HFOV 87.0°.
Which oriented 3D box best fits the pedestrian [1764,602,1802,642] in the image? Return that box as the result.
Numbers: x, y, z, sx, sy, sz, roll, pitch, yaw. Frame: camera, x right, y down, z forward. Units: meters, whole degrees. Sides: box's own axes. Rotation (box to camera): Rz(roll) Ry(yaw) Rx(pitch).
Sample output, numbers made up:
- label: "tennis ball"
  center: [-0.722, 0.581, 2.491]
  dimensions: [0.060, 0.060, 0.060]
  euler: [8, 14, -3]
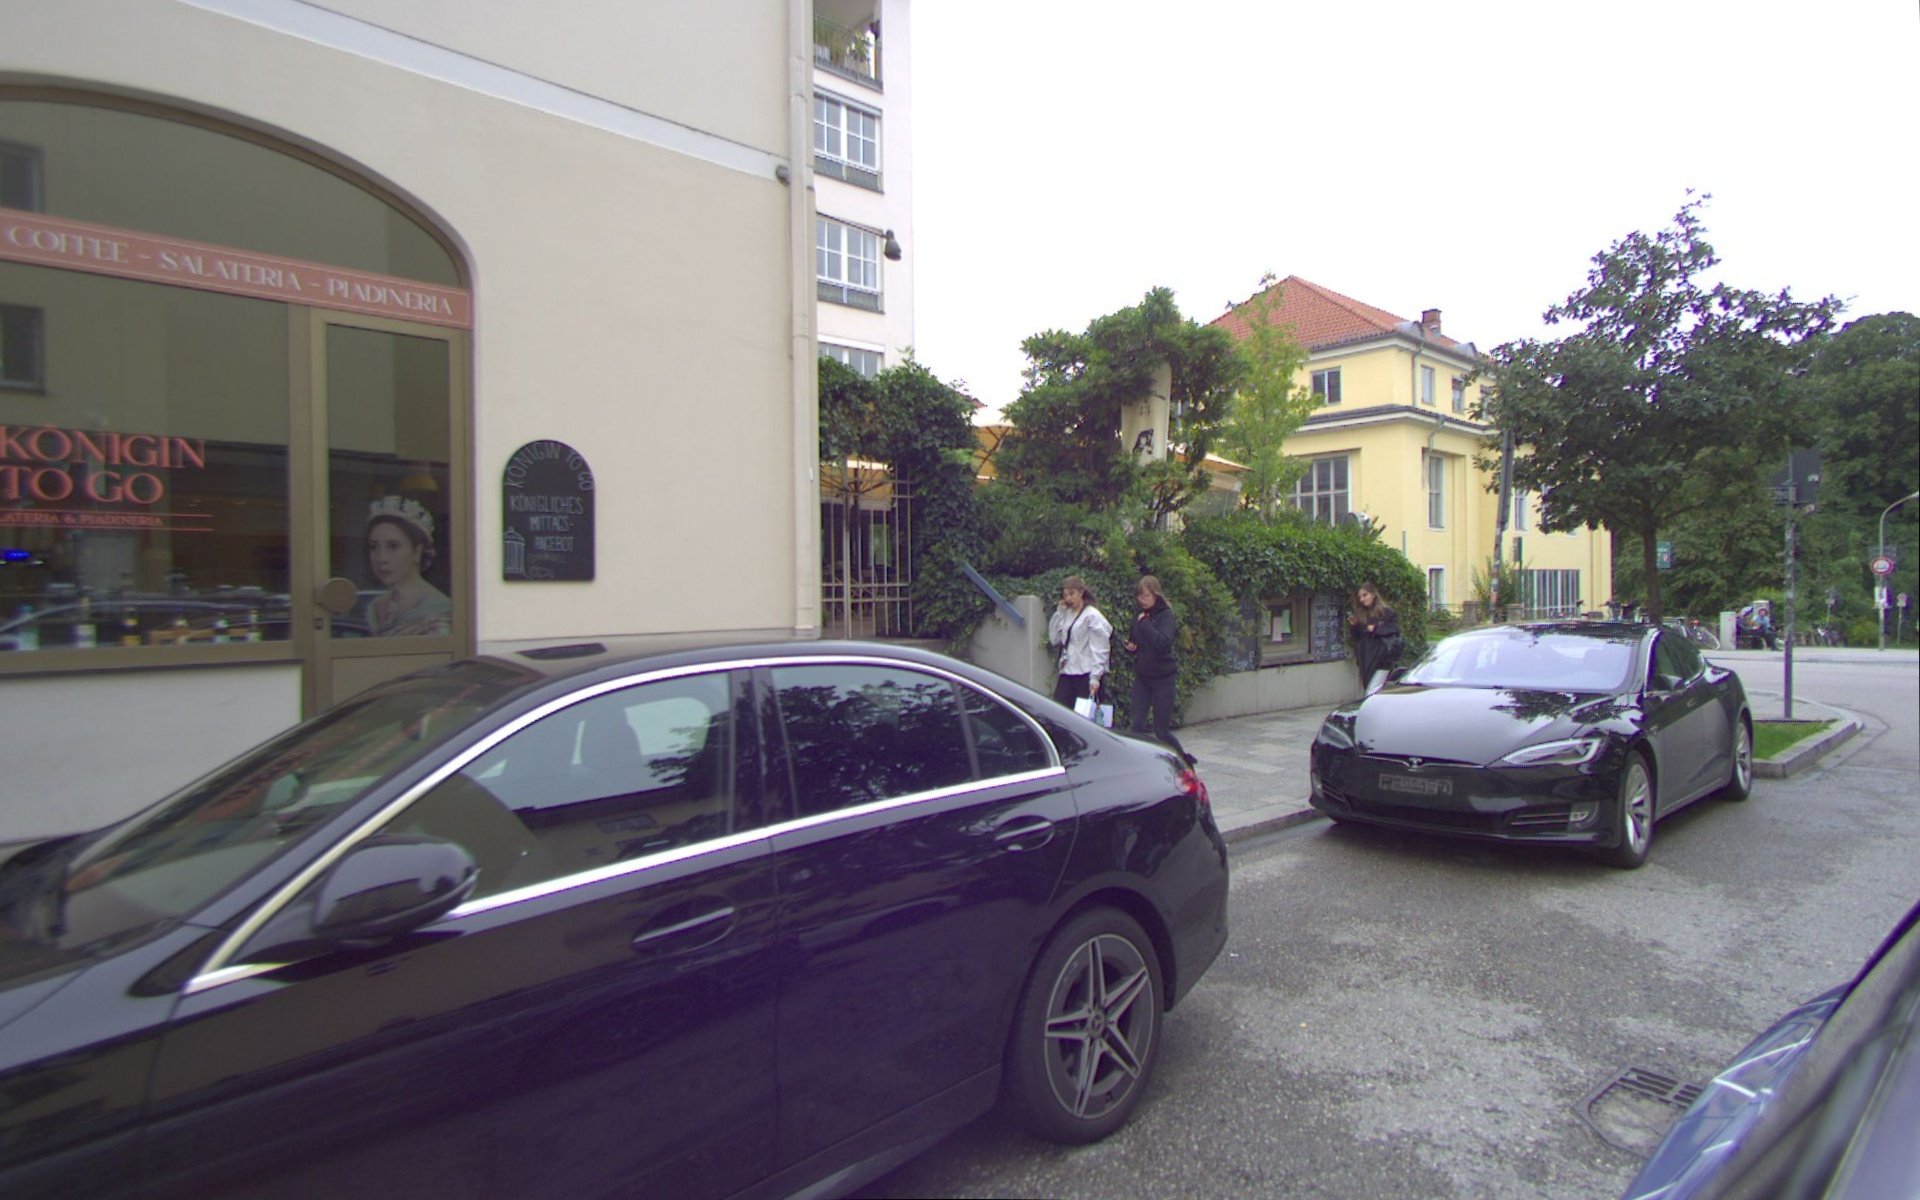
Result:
- label: "pedestrian"
  center: [25.729, 0.695, 31.650]
  dimensions: [0.883, 1.251, 0.542]
  euler: [-2, -4, 39]

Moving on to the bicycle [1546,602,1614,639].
- label: "bicycle"
  center: [18.046, 0.581, 29.461]
  dimensions: [1.637, 1.006, 0.246]
  euler: [2, 0, 26]

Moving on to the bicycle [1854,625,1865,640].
- label: "bicycle"
  center: [40.238, 1.464, 45.285]
  dimensions: [0.893, 0.665, 0.242]
  euler: [2, 0, -41]

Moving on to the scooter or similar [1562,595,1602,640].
- label: "scooter or similar"
  center: [17.573, 0.492, 28.593]
  dimensions: [1.363, 1.264, 0.397]
  euler: [1, -1, -32]

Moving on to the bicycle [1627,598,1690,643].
- label: "bicycle"
  center: [19.903, 0.588, 28.847]
  dimensions: [1.623, 1.213, 0.169]
  euler: [2, 0, 1]

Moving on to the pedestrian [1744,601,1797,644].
- label: "pedestrian"
  center: [24.531, 0.693, 30.638]
  dimensions: [1.210, 1.264, 0.630]
  euler: [-2, -4, 39]

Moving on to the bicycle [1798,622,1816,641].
- label: "bicycle"
  center: [31.683, 1.190, 37.856]
  dimensions: [0.890, 0.684, 0.216]
  euler: [2, 0, -29]

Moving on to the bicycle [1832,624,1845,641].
- label: "bicycle"
  center: [36.824, 1.371, 42.418]
  dimensions: [0.892, 0.684, 0.215]
  euler: [2, 0, -39]

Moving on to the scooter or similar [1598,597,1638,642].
- label: "scooter or similar"
  center: [18.221, 0.522, 28.038]
  dimensions: [0.317, 1.228, 1.118]
  euler: [1, 0, -4]

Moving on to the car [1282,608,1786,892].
- label: "car"
  center: [4.415, 0.798, 7.427]
  dimensions: [4.575, 1.429, 1.805]
  euler: [0, -1, -41]

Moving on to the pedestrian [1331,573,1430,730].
- label: "pedestrian"
  center: [4.678, 0.537, 11.249]
  dimensions: [0.866, 1.642, 0.705]
  euler: [-2, 1, -42]

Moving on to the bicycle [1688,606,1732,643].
- label: "bicycle"
  center: [21.796, 0.715, 29.407]
  dimensions: [1.620, 1.051, 0.308]
  euler: [2, 0, -27]

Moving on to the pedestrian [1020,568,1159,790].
- label: "pedestrian"
  center: [1.058, 0.590, 8.256]
  dimensions: [0.866, 1.682, 0.705]
  euler: [-2, 1, -42]

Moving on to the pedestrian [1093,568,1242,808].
- label: "pedestrian"
  center: [1.578, 0.612, 7.677]
  dimensions: [0.866, 1.682, 0.705]
  euler: [-2, 1, -42]

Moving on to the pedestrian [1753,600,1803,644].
- label: "pedestrian"
  center: [25.237, 0.686, 31.239]
  dimensions: [1.172, 1.310, 0.630]
  euler: [-2, -4, 39]

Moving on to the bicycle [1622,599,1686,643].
- label: "bicycle"
  center: [19.916, 0.595, 29.045]
  dimensions: [1.623, 1.206, 0.202]
  euler: [2, 0, 1]

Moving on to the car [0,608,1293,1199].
- label: "car"
  center: [-1.052, 0.787, 2.604]
  dimensions: [4.433, 1.443, 1.647]
  euler: [0, -3, -43]
